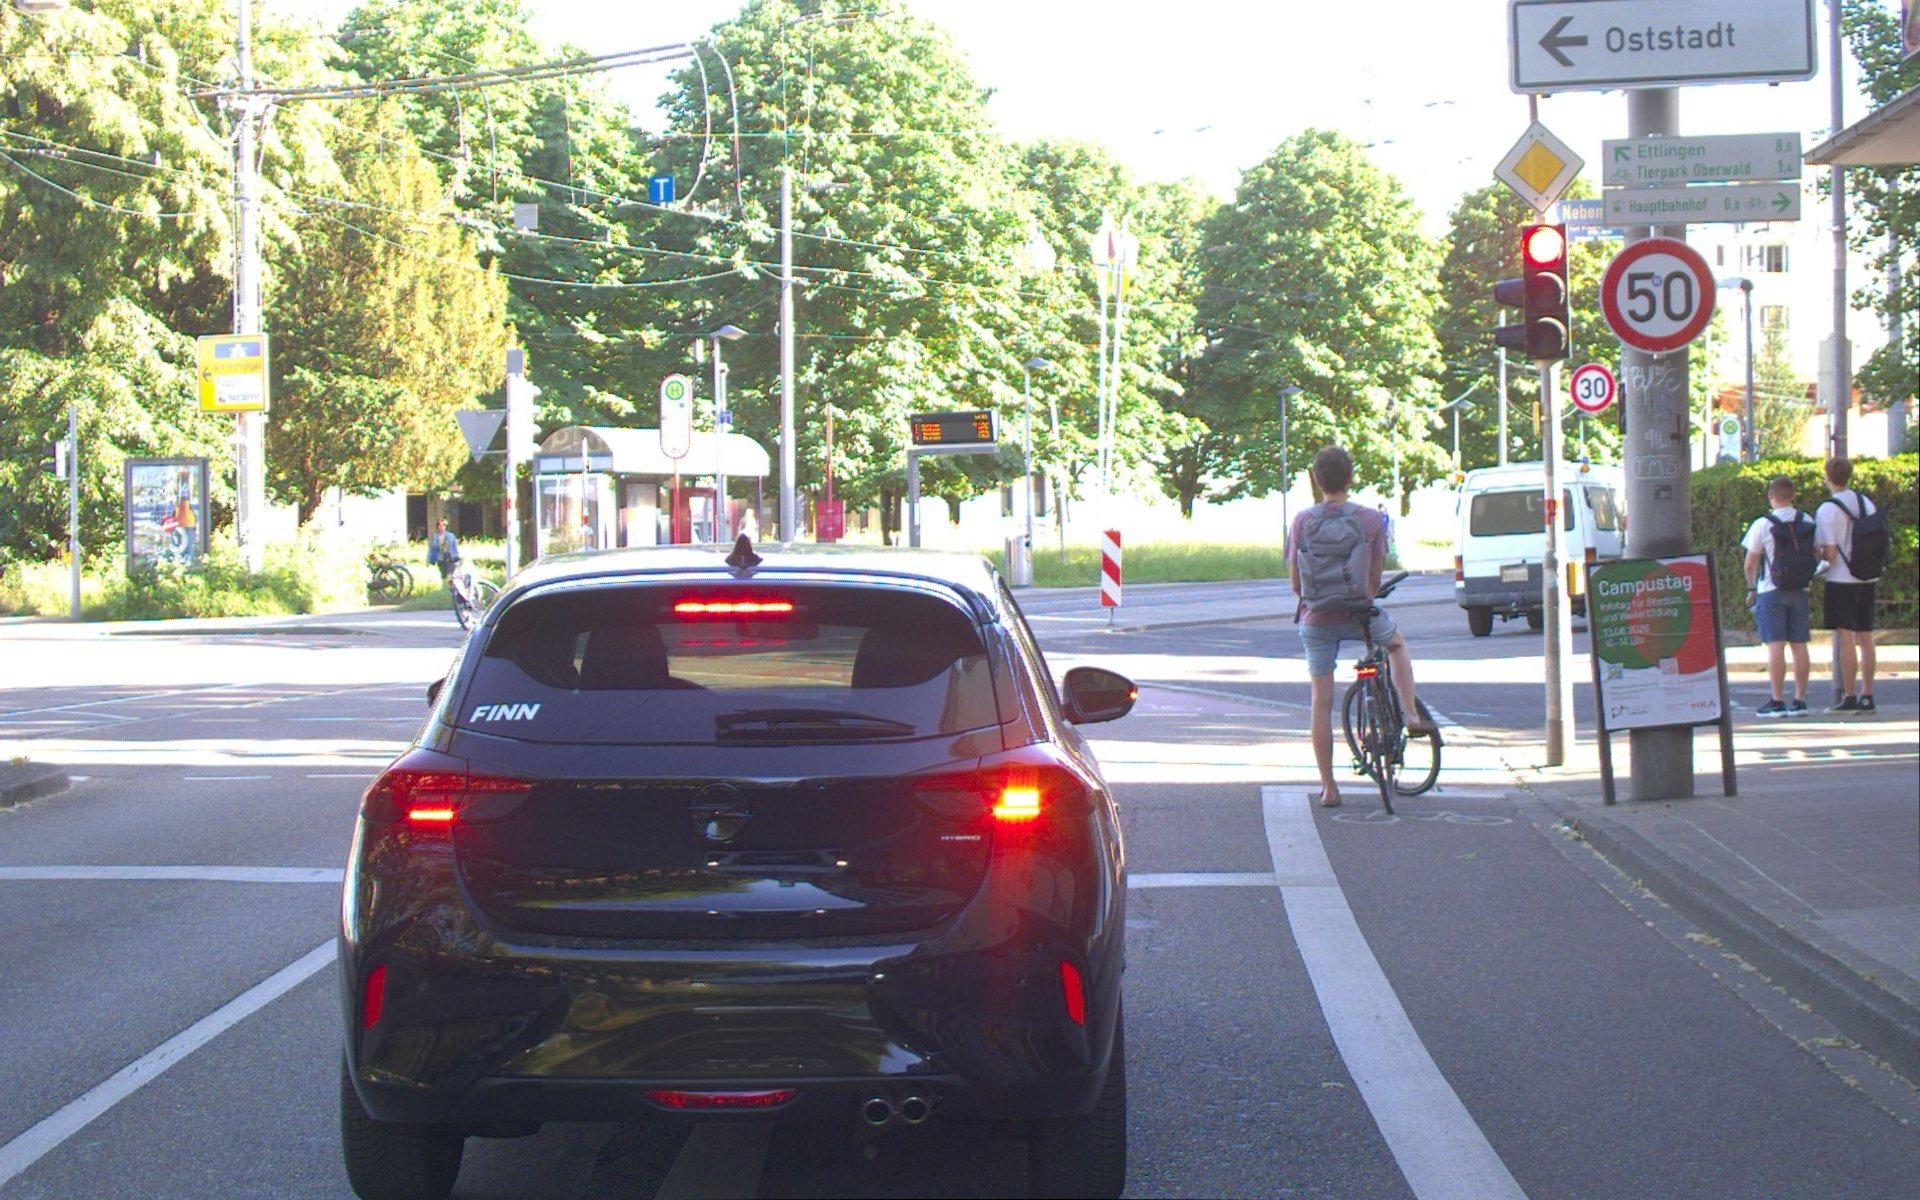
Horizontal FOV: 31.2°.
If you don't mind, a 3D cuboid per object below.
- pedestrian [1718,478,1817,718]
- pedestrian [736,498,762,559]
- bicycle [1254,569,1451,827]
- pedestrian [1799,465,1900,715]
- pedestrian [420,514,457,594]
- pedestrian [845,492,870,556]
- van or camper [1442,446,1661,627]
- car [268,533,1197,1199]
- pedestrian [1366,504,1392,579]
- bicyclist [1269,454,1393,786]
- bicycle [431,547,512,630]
[{"bbox_3d":[6.010,-0.017,25.573,0.633,1.757,0.582,1,0,20],"label":"pedestrian"},{"bbox_3d":[-6.509,-2.206,106.099,0.737,1.865,0.662,1,0,-6],"label":"pedestrian"},{"bbox_3d":[2.071,0.474,17.922,0.753,1.231,2.014,0,1,14],"label":"bicycle"},{"bbox_3d":[6.604,-0.080,25.499,0.633,1.814,0.744,1,0,20],"label":"pedestrian"},{"bbox_3d":[-9.594,-0.850,63.236,0.570,1.467,0.666,-1,1,0],"label":"pedestrian"},{"bbox_3d":[-2.993,-2.213,100.131,0.620,1.865,0.519,1,0,8],"label":"pedestrian"},{"bbox_3d":[8.007,-0.837,46.234,2.031,2.302,4.535,1,1,21],"label":"van or camper"},{"bbox_3d":[-0.475,0.568,8.822,1.840,1.457,3.984,0,1,-1],"label":"car"},{"bbox_3d":[10.621,-1.480,87.133,0.604,1.865,0.519,1,0,6],"label":"pedestrian"},{"bbox_3d":[1.924,0.094,17.792,0.534,1.686,0.567,0,1,17],"label":"bicyclist"},{"bbox_3d":[-6.564,-0.168,46.293,0.796,1.061,2.185,0,1,-1],"label":"bicycle"}]
